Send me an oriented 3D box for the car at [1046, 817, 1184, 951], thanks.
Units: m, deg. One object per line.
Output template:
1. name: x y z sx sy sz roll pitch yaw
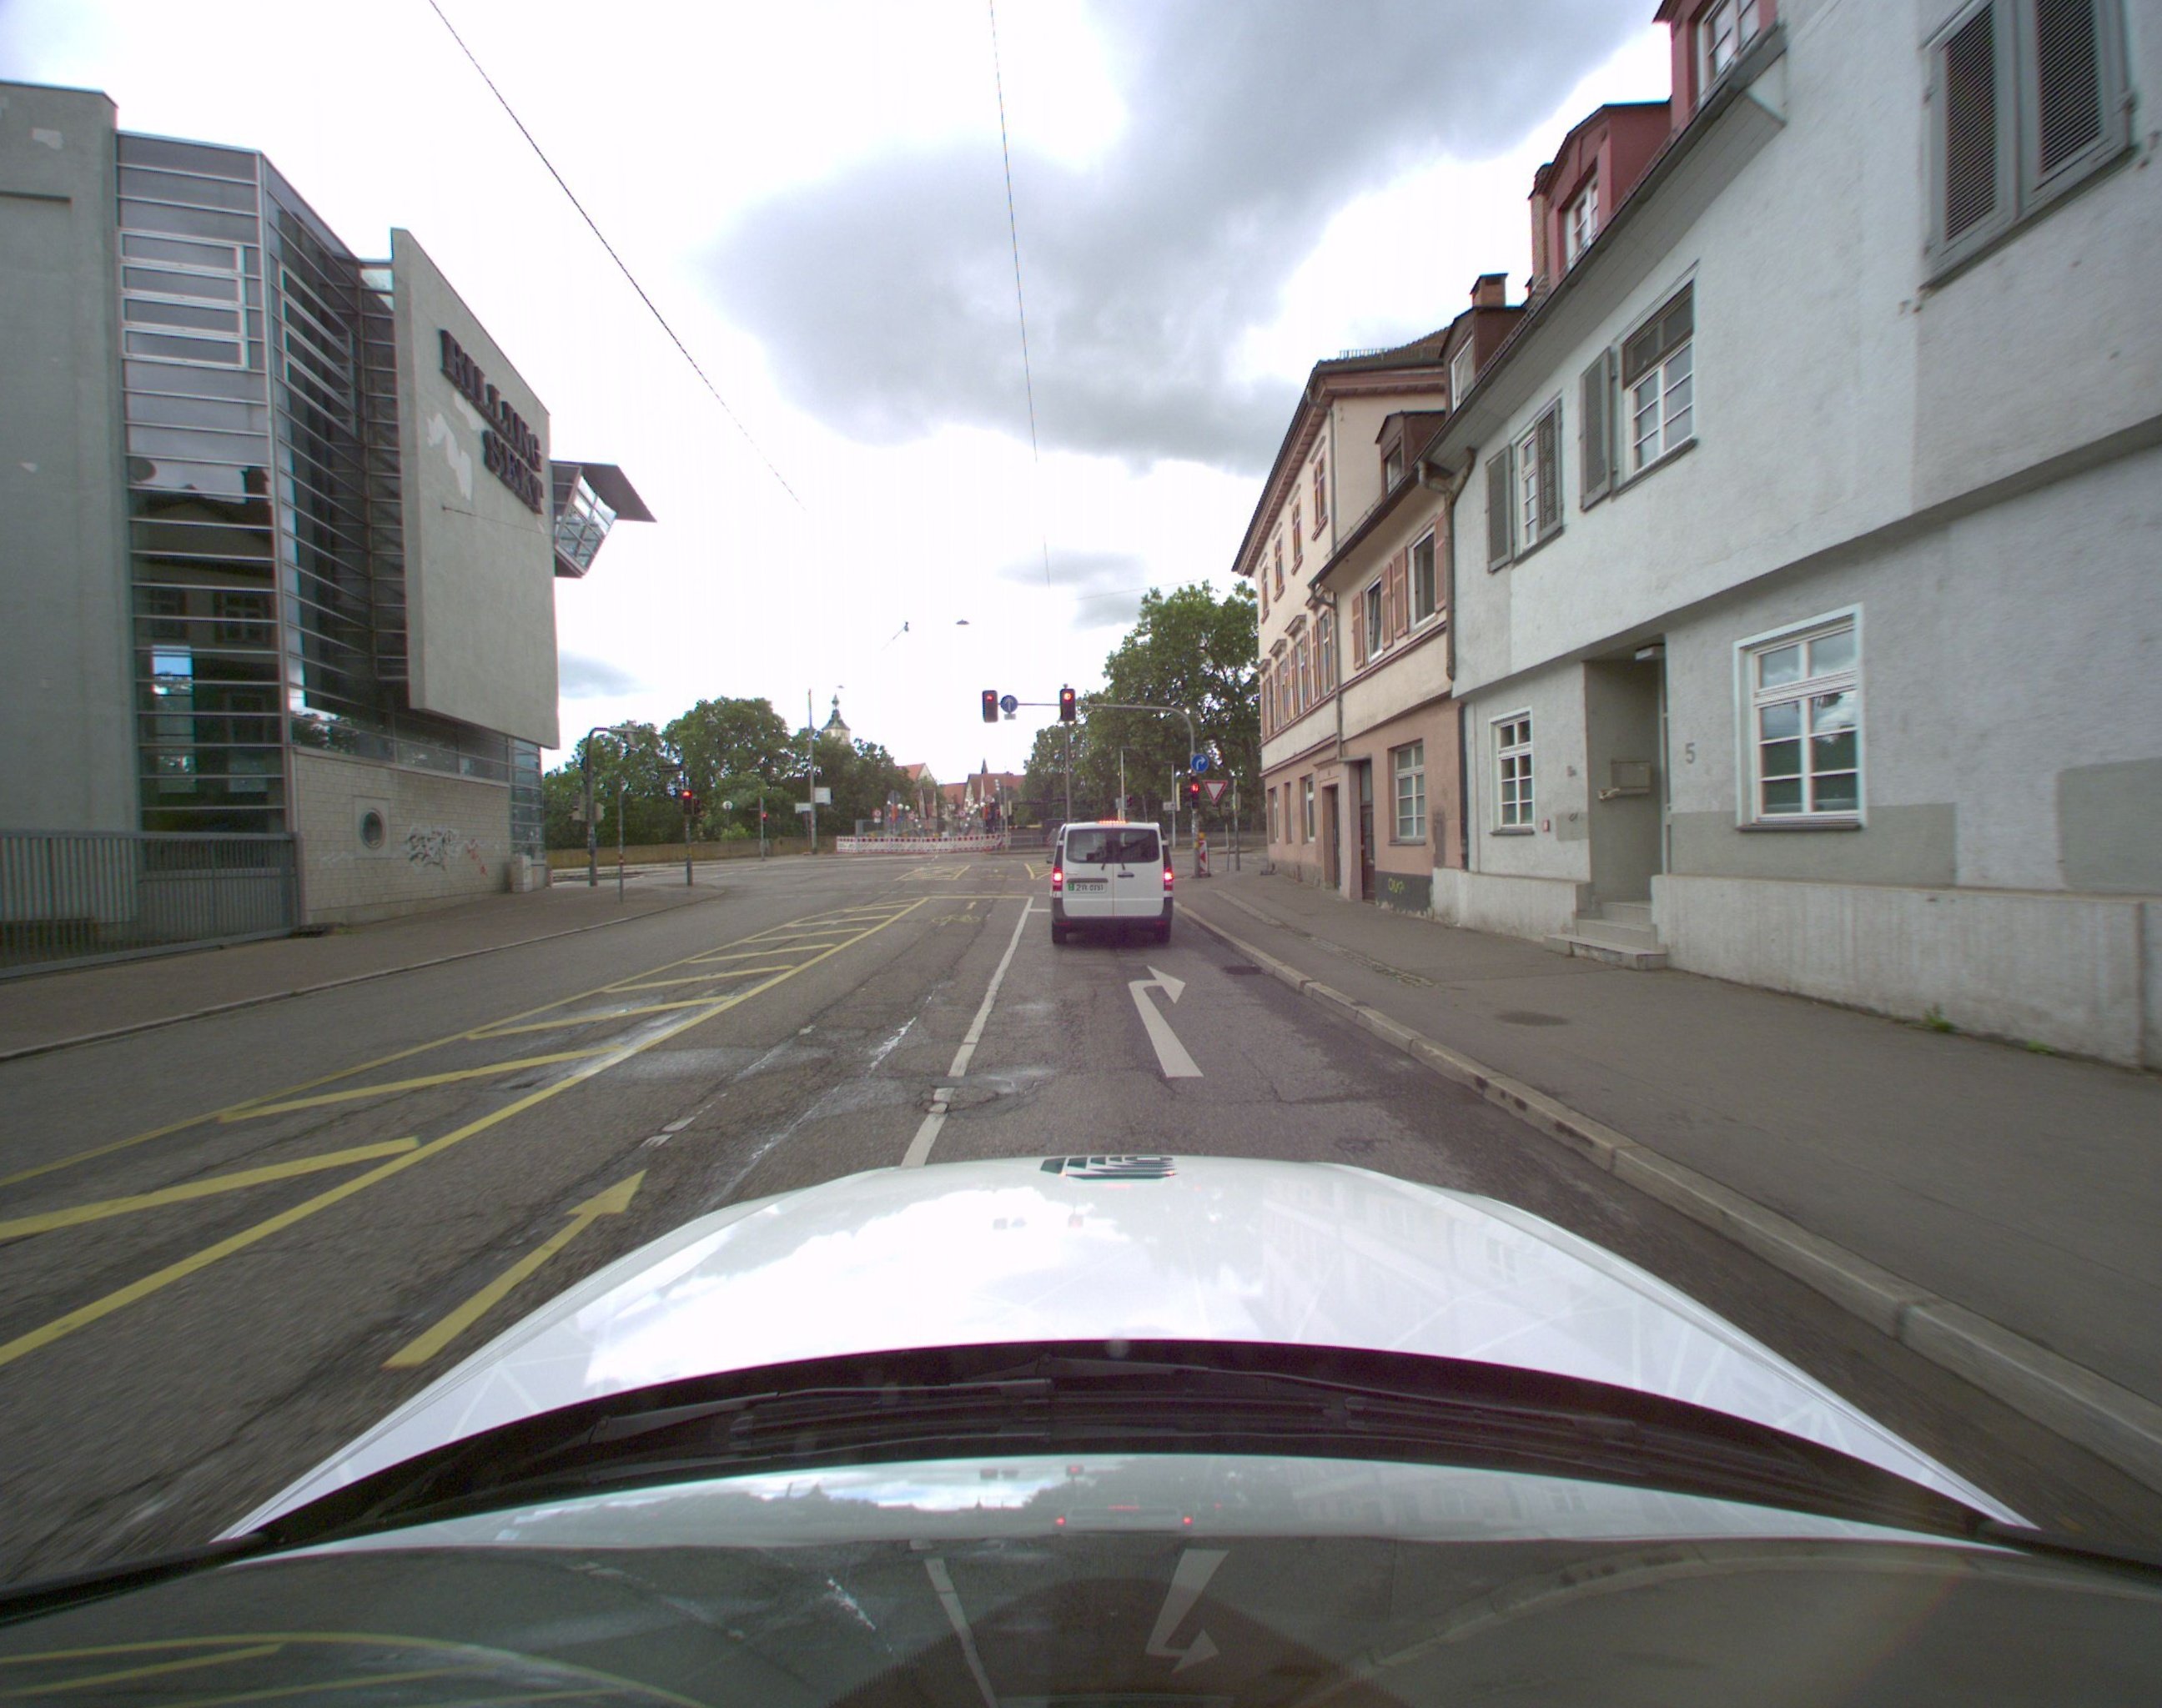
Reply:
1. car: 0.430 0.382 13.981 1.988 1.922 4.246 -1 1 -2
